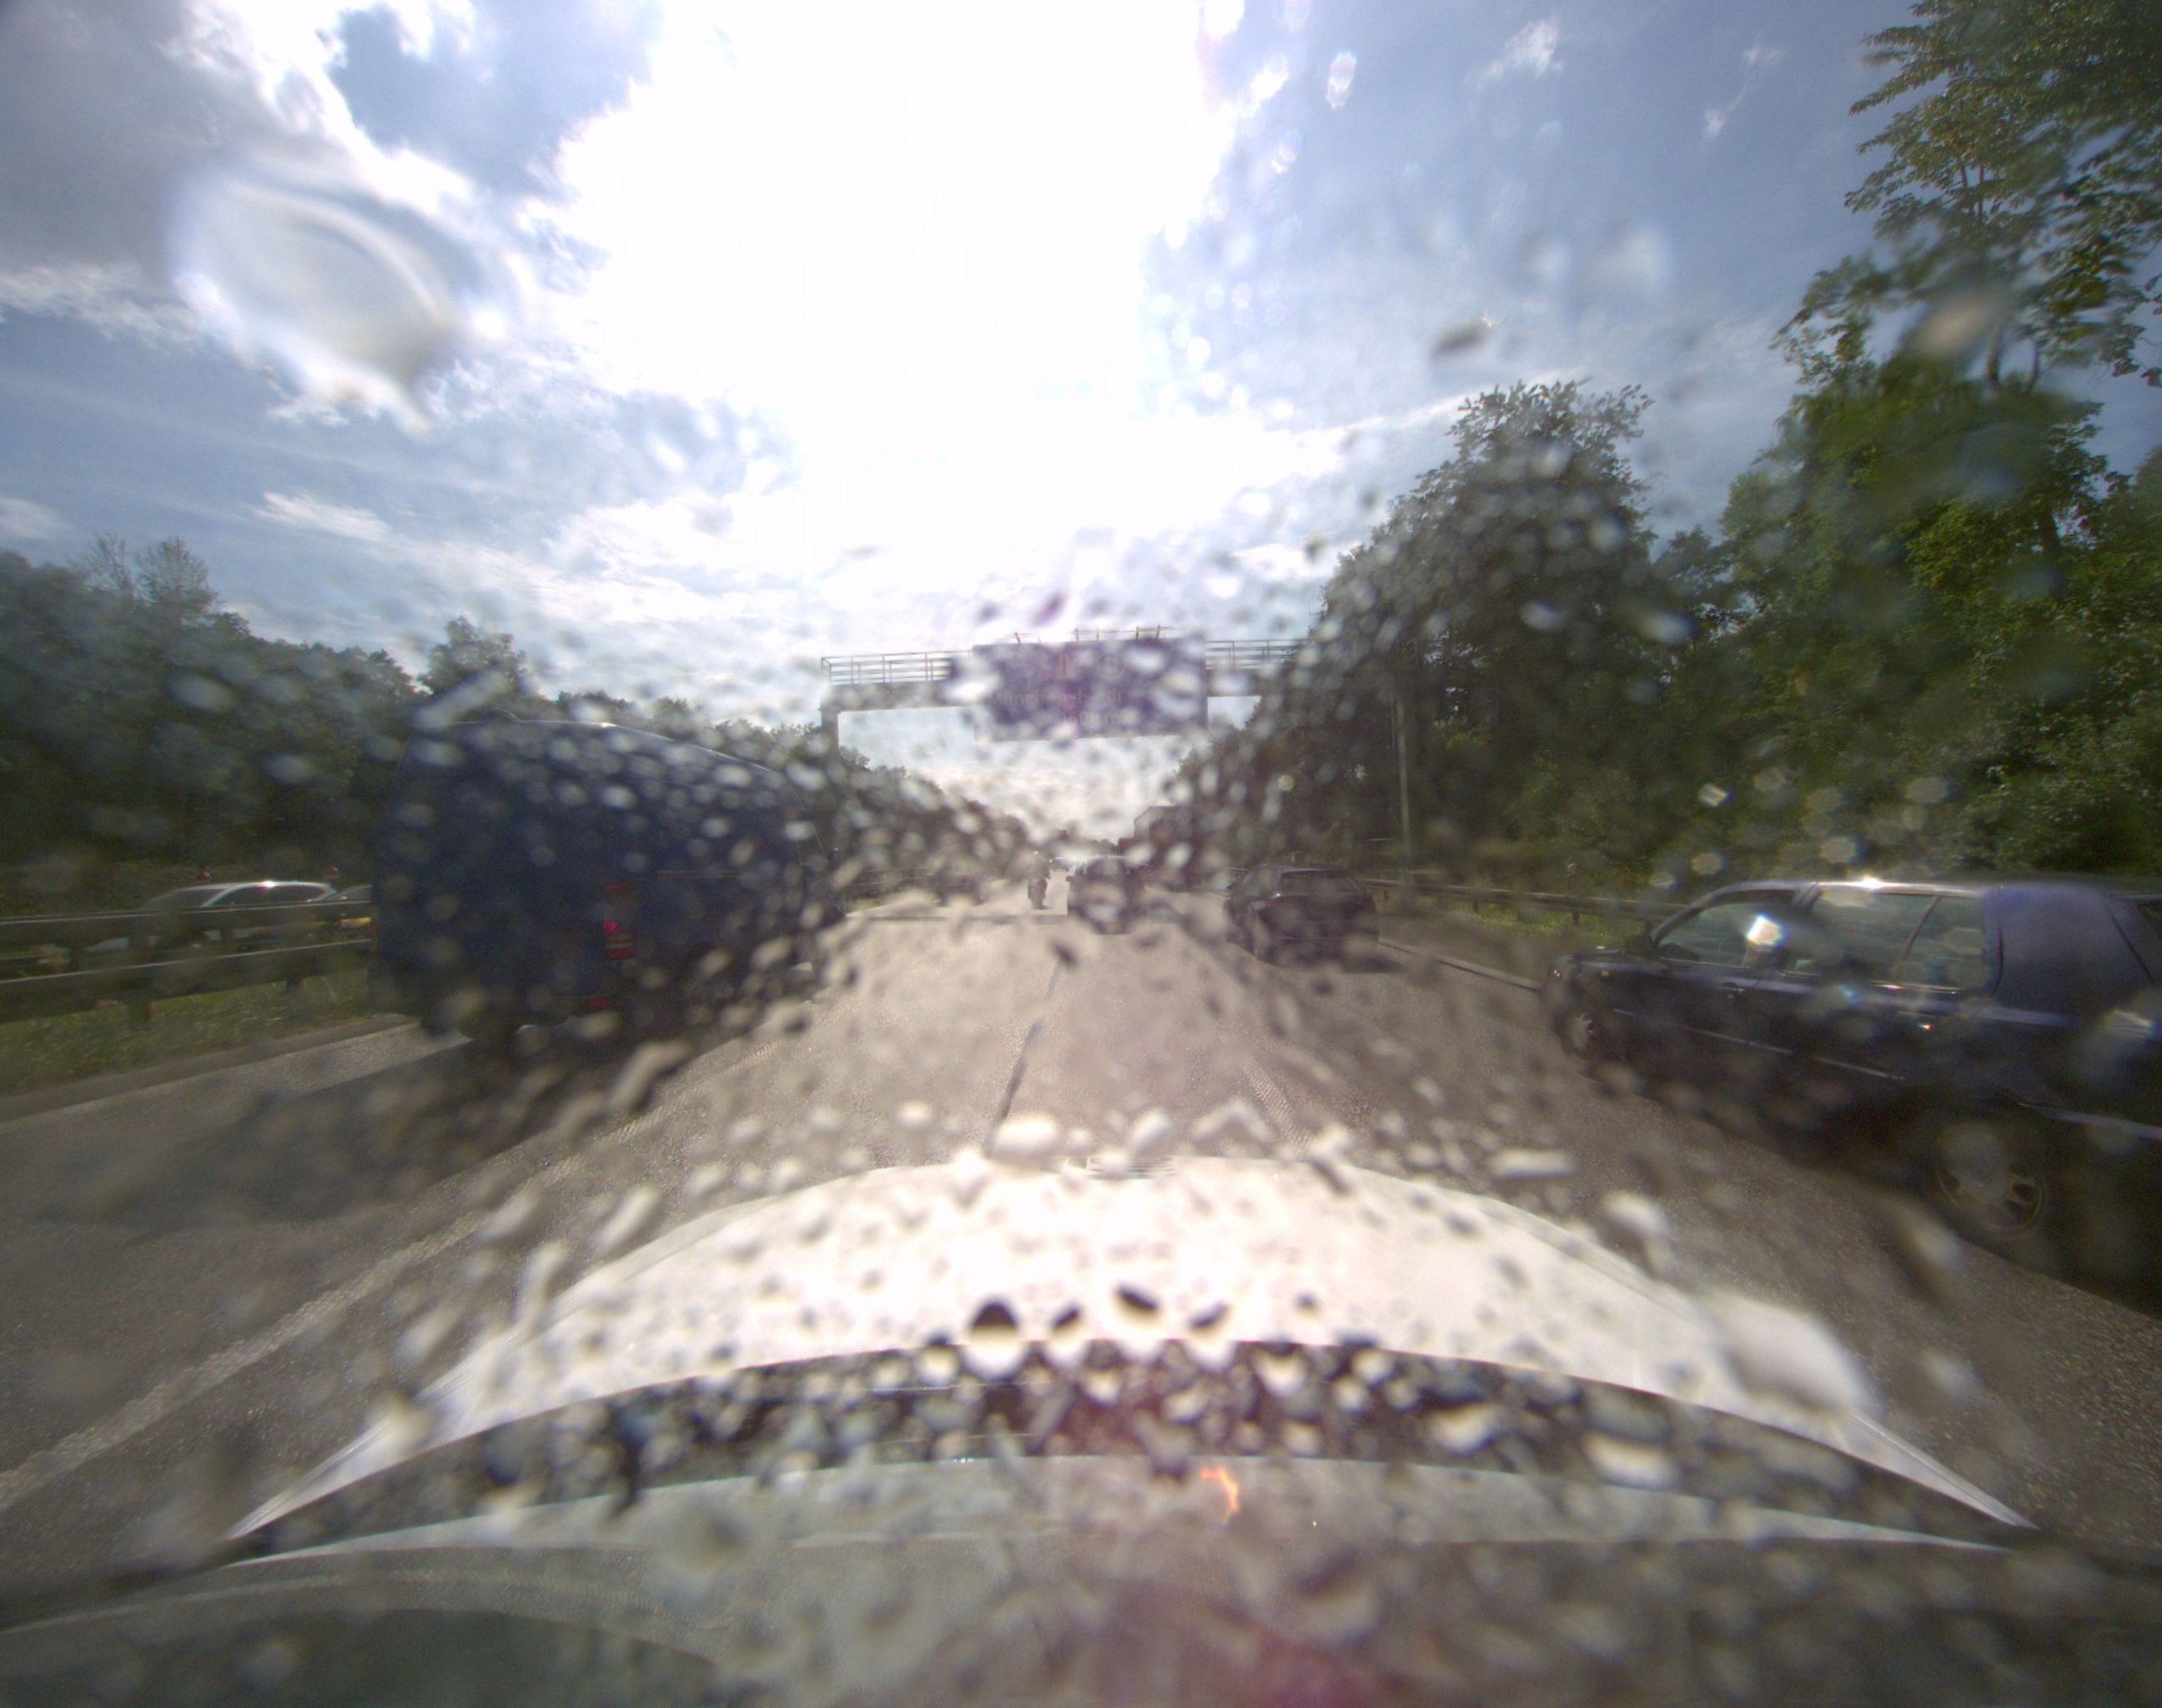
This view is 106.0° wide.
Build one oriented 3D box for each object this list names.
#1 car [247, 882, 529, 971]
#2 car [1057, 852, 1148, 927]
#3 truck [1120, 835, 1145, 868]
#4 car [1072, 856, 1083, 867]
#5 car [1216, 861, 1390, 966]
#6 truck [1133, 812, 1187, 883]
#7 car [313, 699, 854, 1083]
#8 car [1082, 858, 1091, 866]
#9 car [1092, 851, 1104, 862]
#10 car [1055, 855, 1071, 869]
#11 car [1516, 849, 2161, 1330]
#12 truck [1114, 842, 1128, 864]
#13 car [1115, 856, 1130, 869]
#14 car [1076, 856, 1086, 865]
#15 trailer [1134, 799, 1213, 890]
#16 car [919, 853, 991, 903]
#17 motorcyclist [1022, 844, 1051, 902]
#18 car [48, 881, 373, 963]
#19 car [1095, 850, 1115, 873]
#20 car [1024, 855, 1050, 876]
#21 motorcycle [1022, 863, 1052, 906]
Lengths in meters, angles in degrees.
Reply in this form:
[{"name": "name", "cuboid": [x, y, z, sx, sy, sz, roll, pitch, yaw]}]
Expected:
[{"name": "car", "cuboid": [-12.748, 1.263, 15.391, 1.795, 1.337, 4.002, 0, -1, 2]}, {"name": "car", "cuboid": [0.506, 0.762, 19.496, 1.908, 1.565, 4.315, -1, 0, 1]}, {"name": "truck", "cuboid": [7.071, -0.321, 113.699, 3.190, 4.404, 9.436, -1, 0, 2]}, {"name": "car", "cuboid": [-0.706, 1.410, 153.079, 1.986, 2.014, 4.001, -1, -1, 1]}, {"name": "car", "cuboid": [3.408, 0.830, 13.378, 1.748, 1.396, 4.369, -1, 0, 1]}, {"name": "truck", "cuboid": [5.040, -0.409, 53.061, 3.041, 4.325, 5.888, -1, 0, 1]}, {"name": "car", "cuboid": [-4.284, 0.265, 8.573, 2.008, 2.648, 5.778, -1, 0, 1]}, {"name": "car", "cuboid": [1.325, 1.891, 197.581, 1.986, 2.014, 4.001, -1, -1, 1]}, {"name": "car", "cuboid": [2.479, 0.397, 117.590, 1.626, 1.490, 3.437, -1, 0, 1]}, {"name": "car", "cuboid": [-2.122, 0.883, 96.170, 1.669, 1.597, 3.437, -1, 0, 1]}, {"name": "car", "cuboid": [4.128, 0.722, 4.311, 1.645, 1.456, 3.744, -1, 0, 0]}, {"name": "truck", "cuboid": [8.875, -0.073, 181.448, 2.871, 4.687, 12.662, -1, -1, 2]}, {"name": "car", "cuboid": [4.830, 1.019, 95.291, 1.669, 1.490, 3.437, -1, 0, 1]}, {"name": "car", "cuboid": [0.068, 1.423, 175.545, 1.986, 2.014, 4.001, -1, -1, 1]}, {"name": "trailer", "cuboid": [4.842, -0.419, 45.714, 3.077, 4.312, 14.108, -1, 0, 1]}, {"name": "car", "cuboid": [-4.391, 0.803, 28.914, 1.752, 1.595, 4.331, -1, 0, 1]}, {"name": "motorcyclist", "cuboid": [-1.392, 0.588, 25.776, 0.818, 1.761, 1.390, -1, -1, 0]}, {"name": "car", "cuboid": [-17.329, 1.280, 16.618, 1.795, 1.337, 4.412, -1, -1, 2]}, {"name": "car", "cuboid": [2.084, 0.661, 71.744, 1.669, 1.936, 3.774, -1, 0, 1]}, {"name": "car", "cuboid": [-3.516, 0.919, 65.674, 1.887, 1.628, 4.194, -1, 0, 0]}, {"name": "motorcycle", "cuboid": [-1.383, 0.946, 25.798, 0.817, 1.263, 2.117, -1, 0, 0]}]
